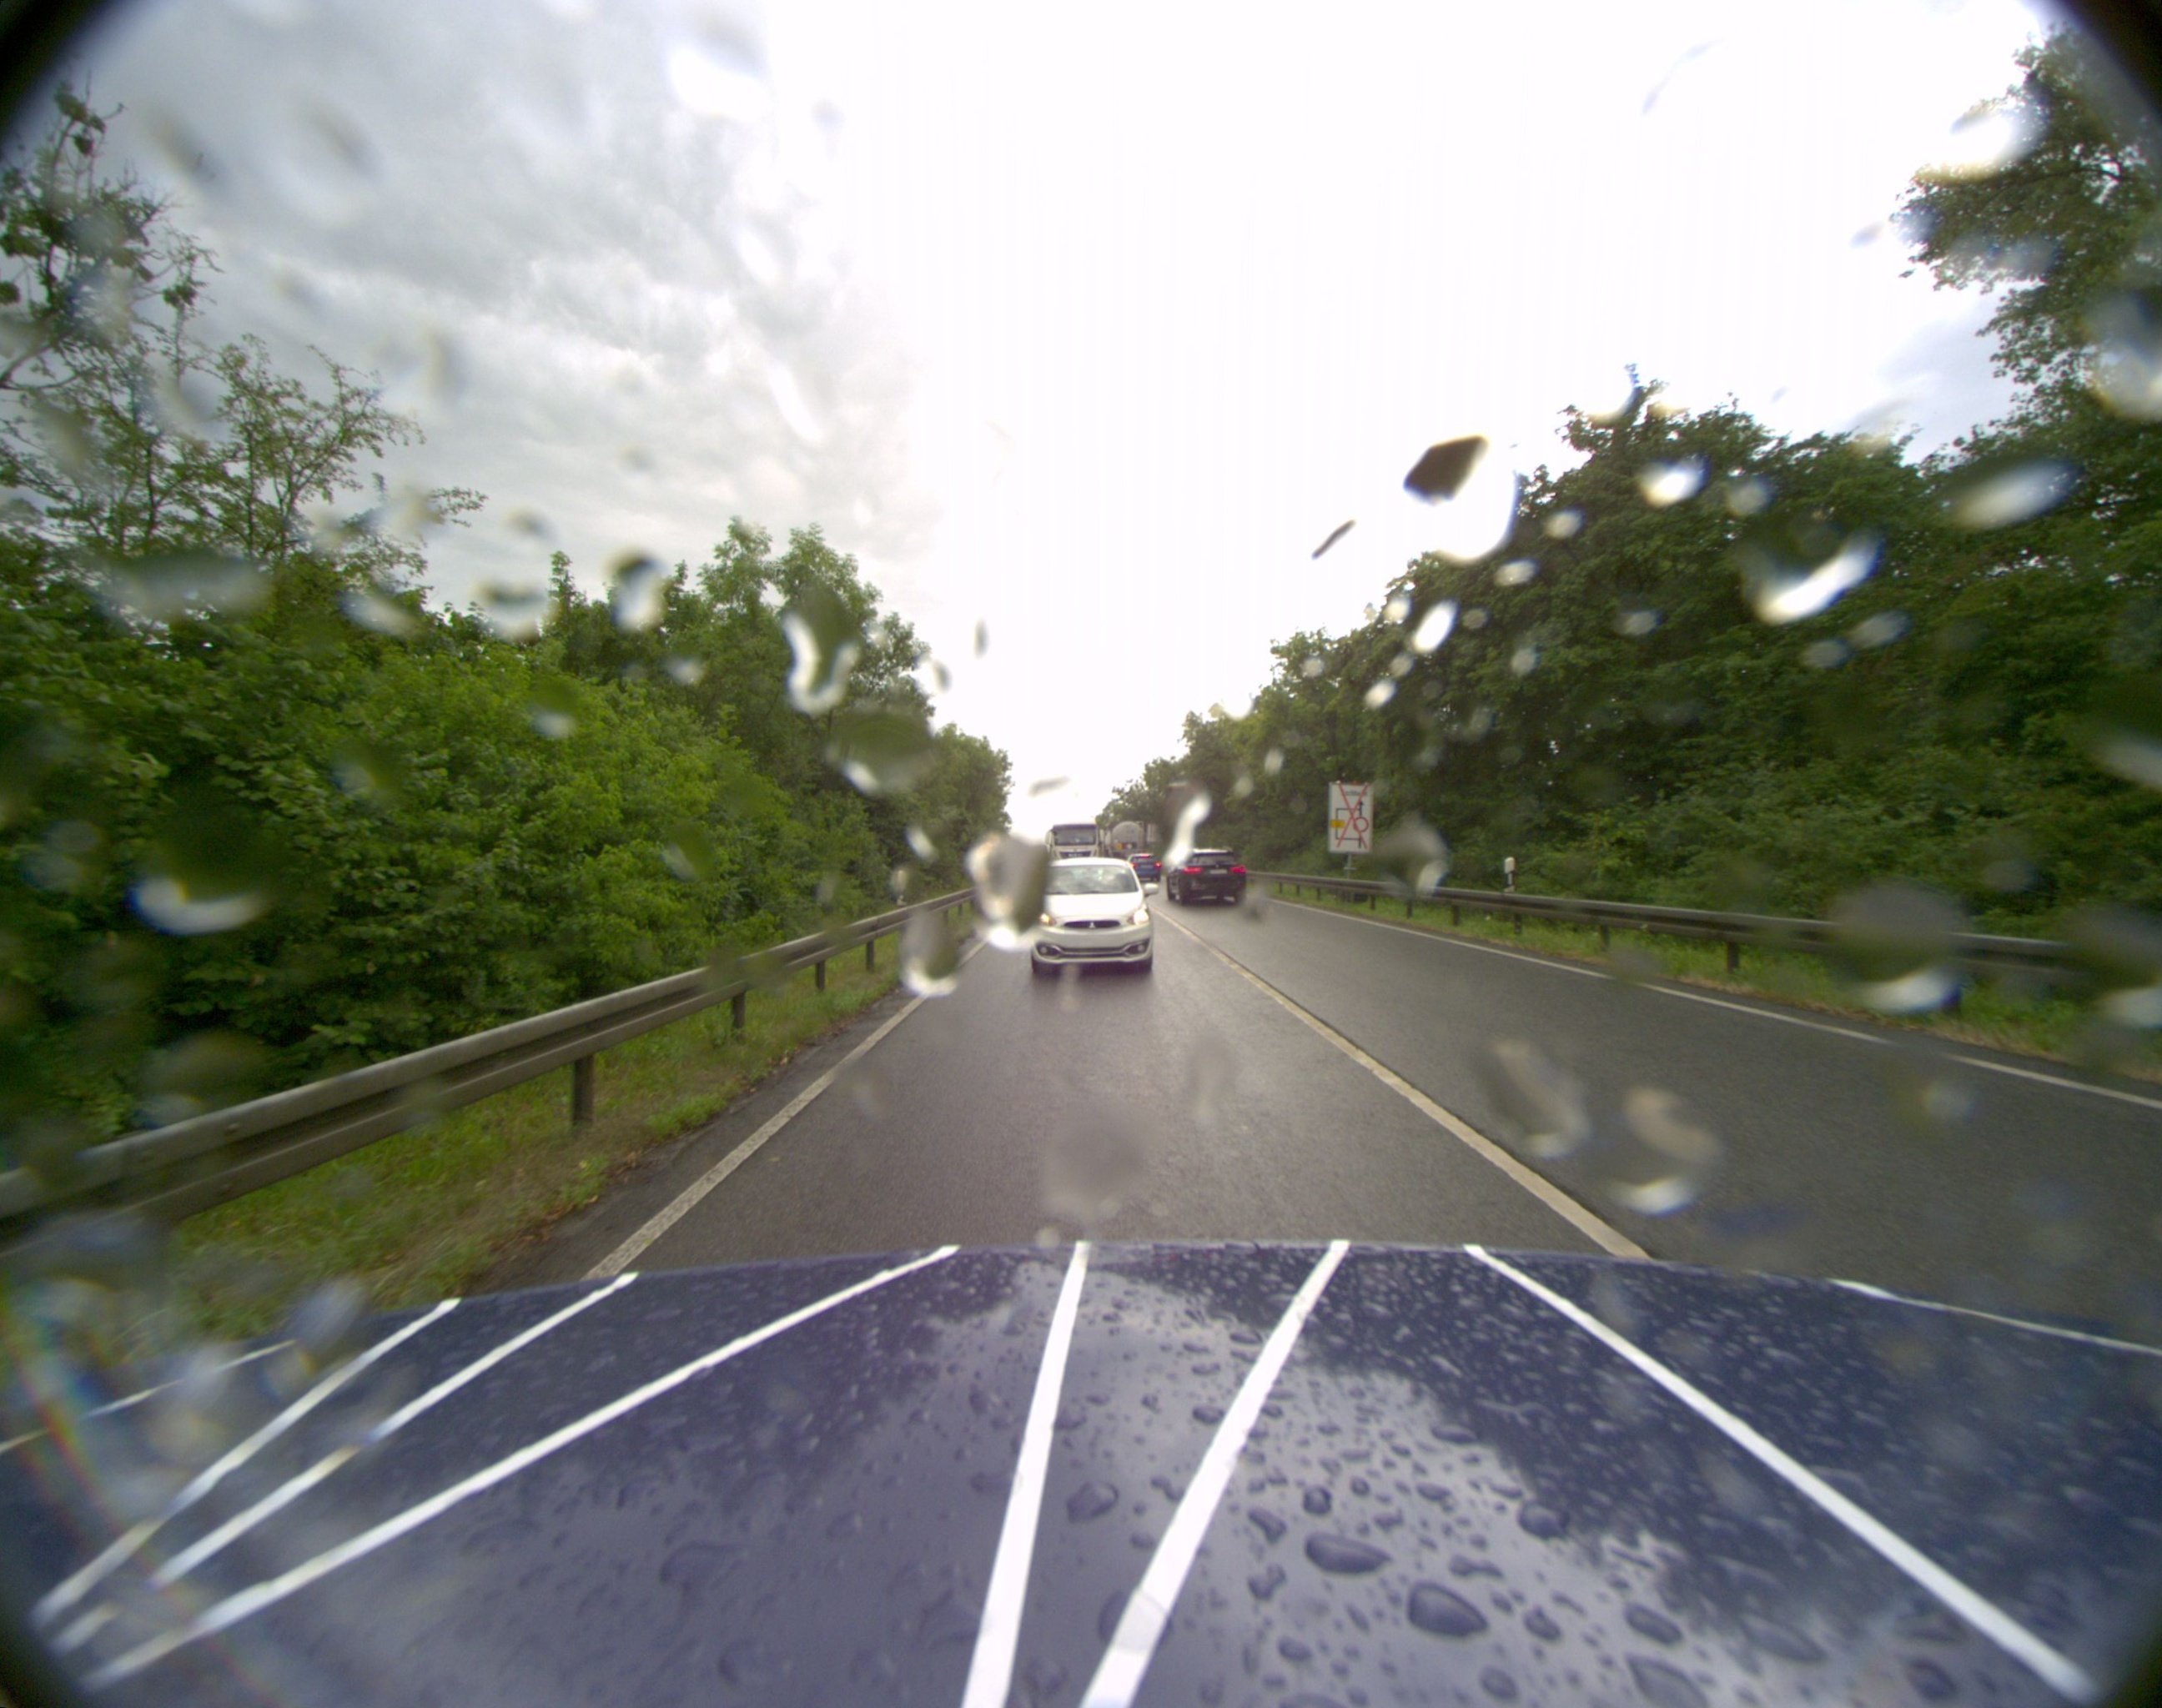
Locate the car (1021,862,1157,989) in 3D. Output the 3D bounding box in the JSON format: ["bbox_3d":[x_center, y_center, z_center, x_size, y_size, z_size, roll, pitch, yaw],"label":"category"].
[{"bbox_3d":[0.111,0.895,11.374,1.610,1.435,4.209,-2,0,0],"label":"car"}]

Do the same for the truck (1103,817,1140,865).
[{"bbox_3d":[3.364,-1.110,64.227,2.543,3.803,5.243,-2,1,-1],"label":"truck"}]

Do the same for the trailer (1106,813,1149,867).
[{"bbox_3d":[3.513,-1.042,58.921,2.543,3.803,7.789,-2,1,-1],"label":"trailer"}]

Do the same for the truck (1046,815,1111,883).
[{"bbox_3d":[-0.313,-0.321,43.240,3.137,3.364,9.279,-2,1,-3],"label":"truck"}]

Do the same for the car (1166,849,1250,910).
[{"bbox_3d":[3.772,0.710,23.267,1.852,1.634,4.298,-2,0,0],"label":"car"}]

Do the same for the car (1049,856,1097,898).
[{"bbox_3d":[-0.238,0.832,29.451,1.640,1.413,4.492,-2,0,2],"label":"car"}]

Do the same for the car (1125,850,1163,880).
[{"bbox_3d":[3.511,0.596,42.726,1.712,1.507,3.911,-2,1,-1],"label":"car"}]
